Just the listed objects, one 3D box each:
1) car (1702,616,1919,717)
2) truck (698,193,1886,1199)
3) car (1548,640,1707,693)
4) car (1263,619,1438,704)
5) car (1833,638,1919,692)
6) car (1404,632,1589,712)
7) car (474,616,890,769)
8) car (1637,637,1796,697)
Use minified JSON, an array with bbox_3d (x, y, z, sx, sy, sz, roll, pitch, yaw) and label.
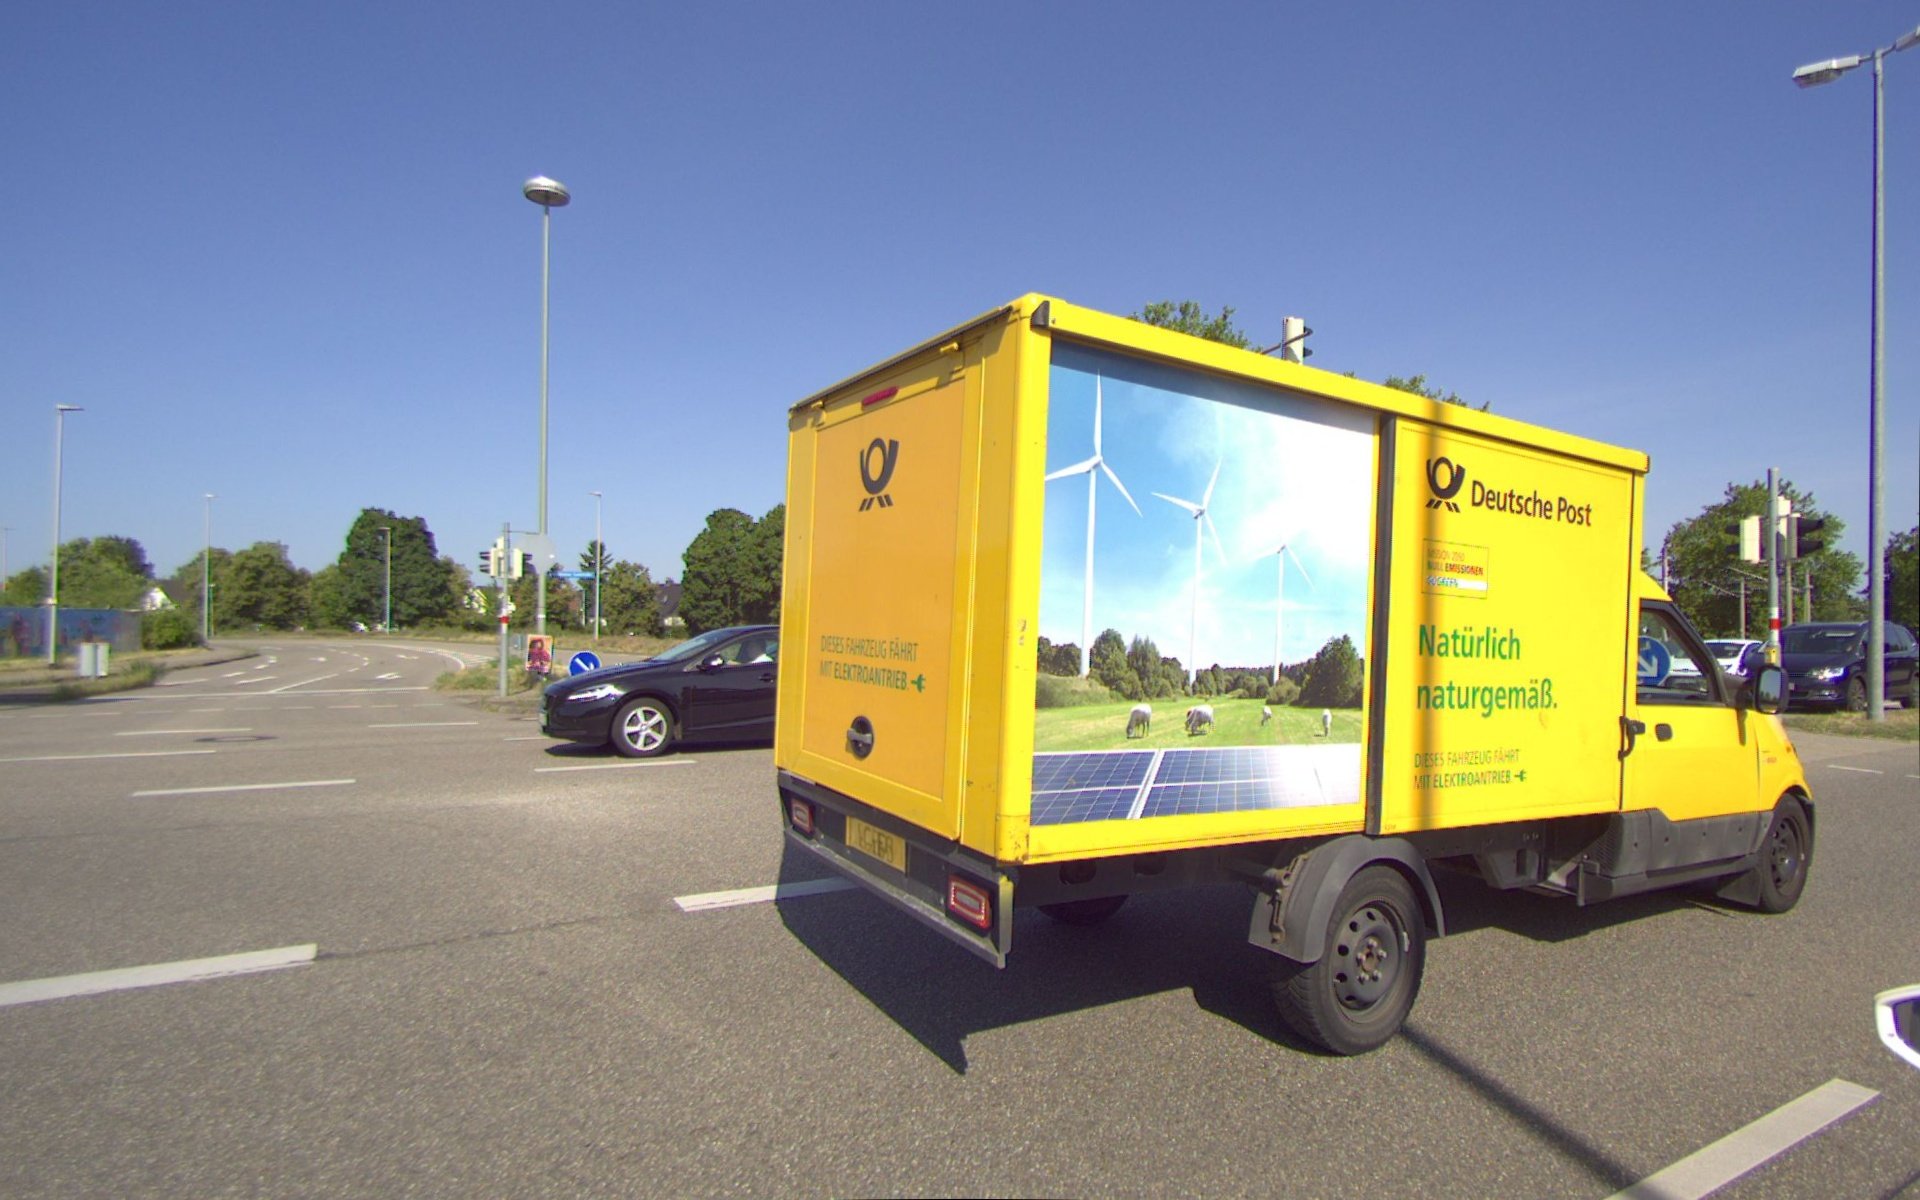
[{"bbox_3d":[16.764,1.247,19.613,4.451,1.773,1.973,2,-2,-28],"label":"car"},{"bbox_3d":[1.957,0.359,4.823,5.849,2.490,2.101,2,-1,-31],"label":"truck"},{"bbox_3d":[20.729,2.012,31.124,5.553,1.493,1.983,2,-2,-32],"label":"car"},{"bbox_3d":[9.055,1.397,23.170,4.185,1.793,1.694,2,-3,-34],"label":"car"},{"bbox_3d":[28.297,1.920,30.279,3.952,1.504,1.807,2,-2,-30],"label":"car"},{"bbox_3d":[10.921,1.418,20.401,3.827,1.476,1.611,2,-2,-31],"label":"car"},{"bbox_3d":[-3.161,0.968,11.589,4.280,1.476,1.972,2,-2,-29],"label":"car"},{"bbox_3d":[19.222,1.676,25.513,3.795,1.404,1.822,2,-2,-28],"label":"car"}]
